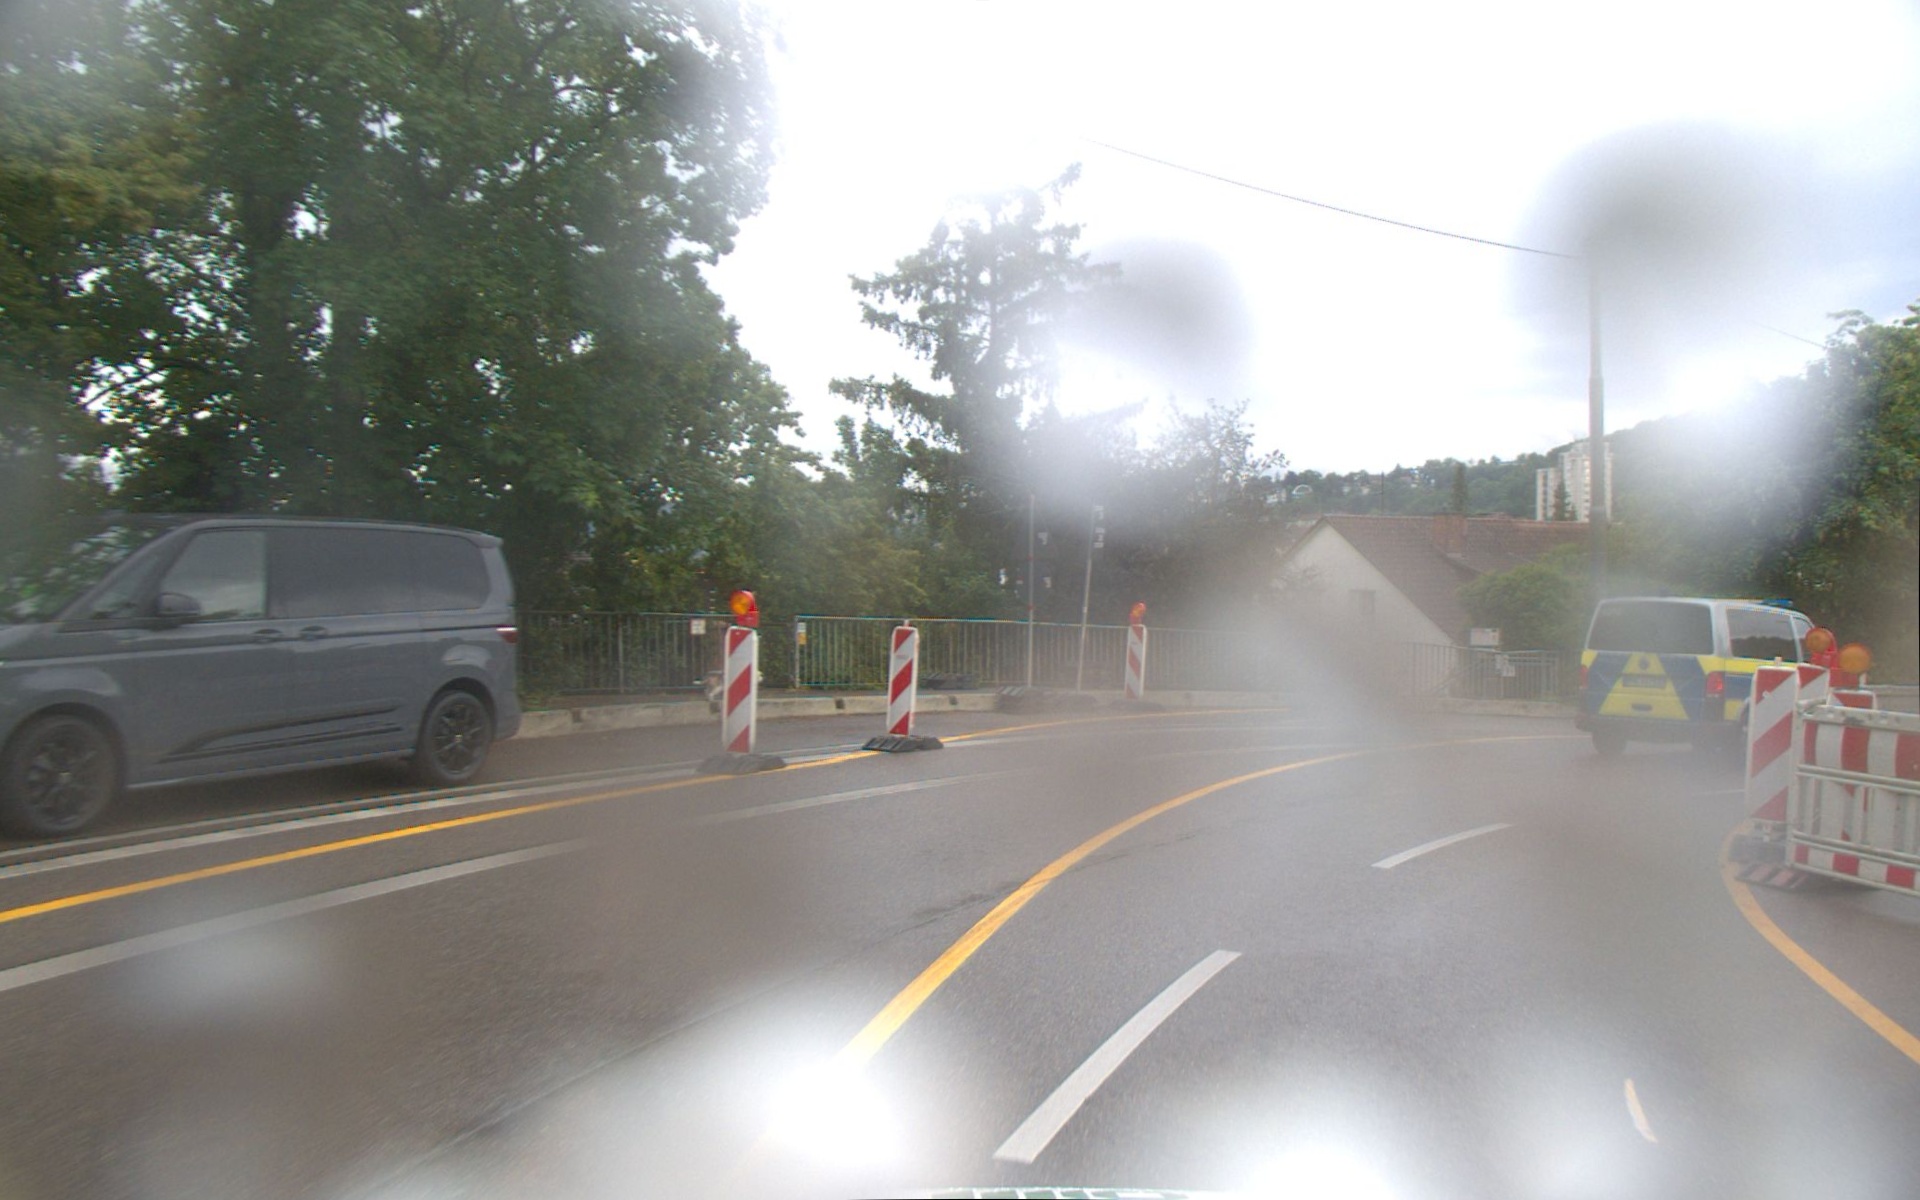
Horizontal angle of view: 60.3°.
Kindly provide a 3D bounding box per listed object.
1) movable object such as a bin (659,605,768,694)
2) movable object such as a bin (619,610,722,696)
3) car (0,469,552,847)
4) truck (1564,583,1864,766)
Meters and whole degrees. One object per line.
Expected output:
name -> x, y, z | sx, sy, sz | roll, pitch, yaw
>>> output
movable object such as a bin -> -3.241, 0.647, 21.738 | 1.020, 1.126, 0.973 | 3, -2, -45
movable object such as a bin -> -3.948, 0.703, 22.551 | 1.020, 1.126, 0.973 | 0, 0, -45
car -> -5.193, 0.314, 11.032 | 1.955, 2.049, 4.942 | 2, 0, 28
truck -> 9.637, 0.838, 20.948 | 1.967, 2.049, 4.701 | -1, -1, 45
